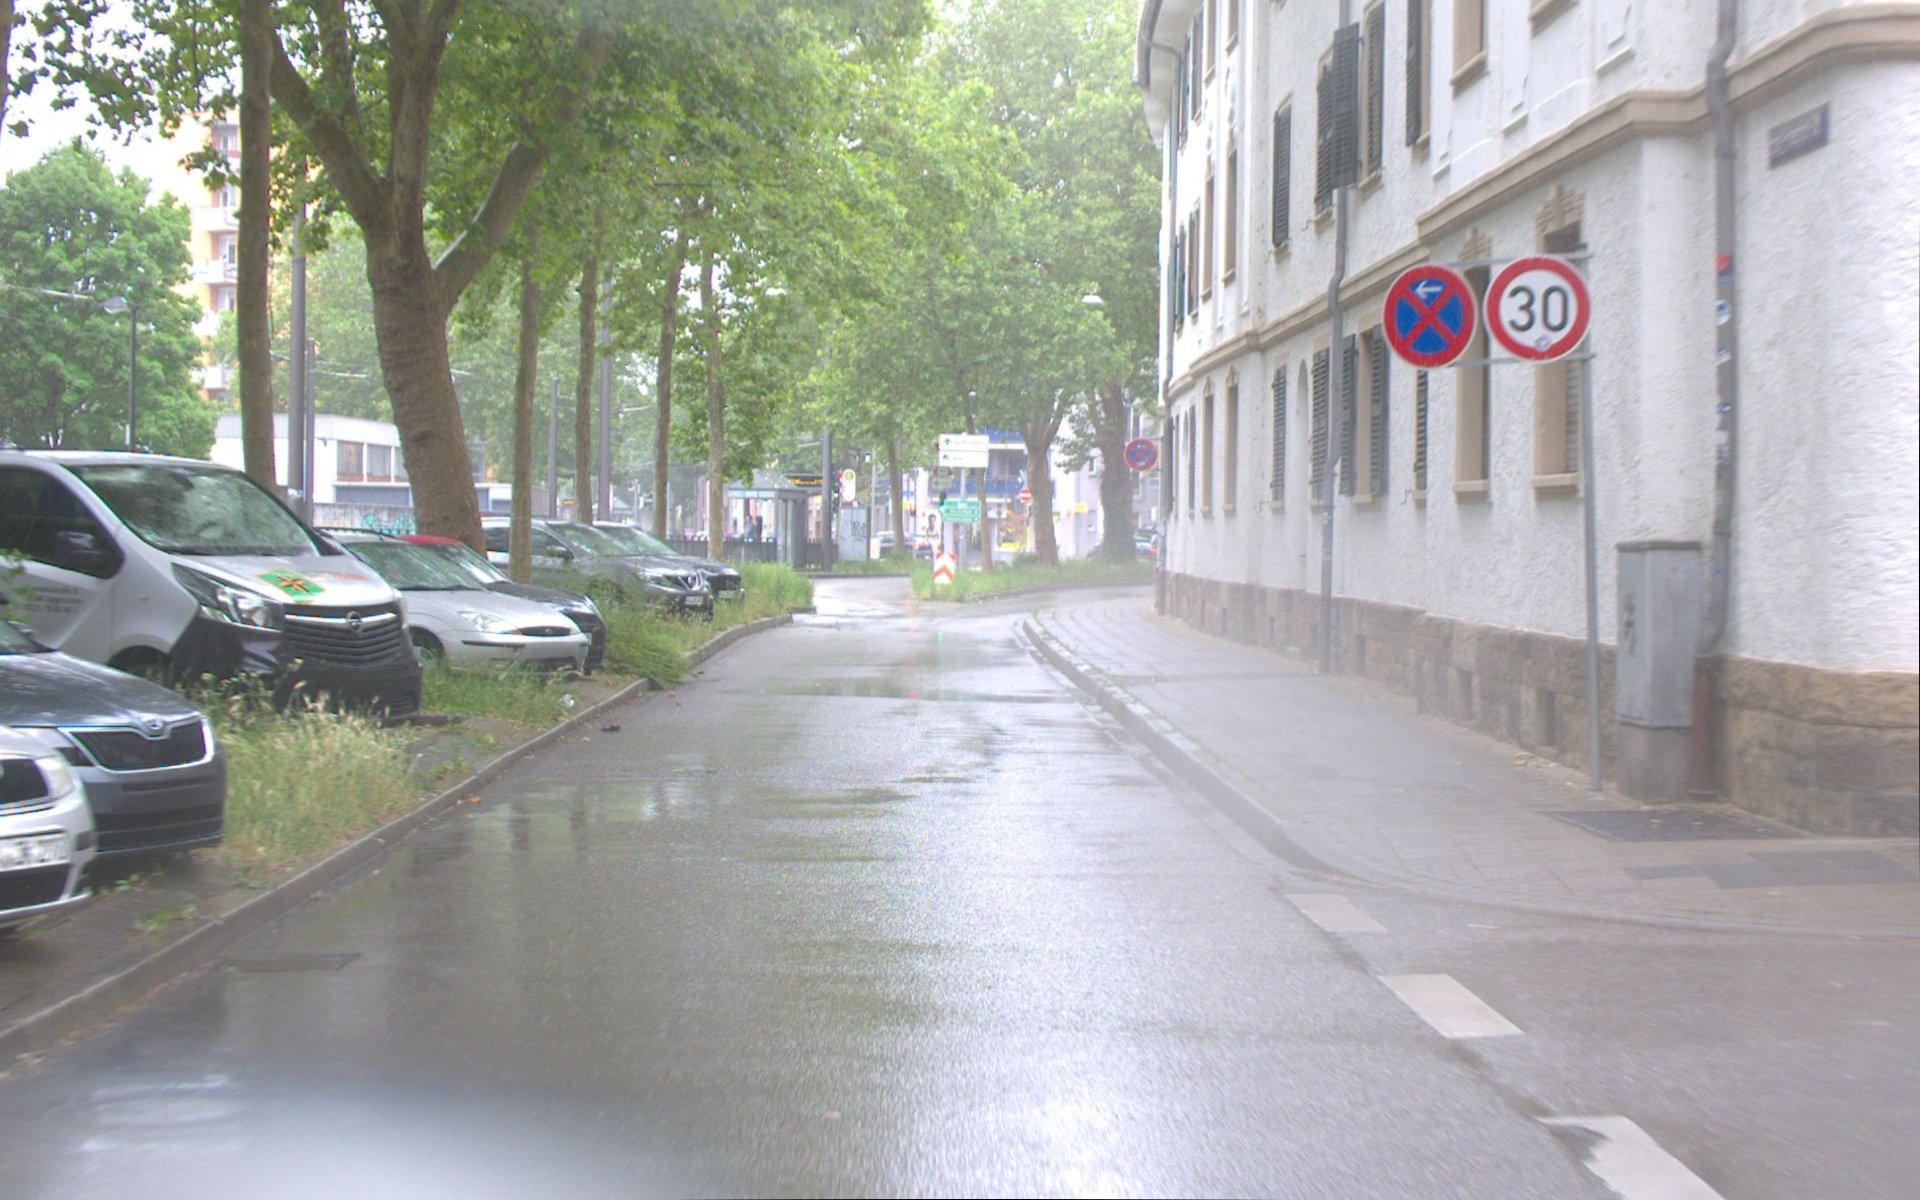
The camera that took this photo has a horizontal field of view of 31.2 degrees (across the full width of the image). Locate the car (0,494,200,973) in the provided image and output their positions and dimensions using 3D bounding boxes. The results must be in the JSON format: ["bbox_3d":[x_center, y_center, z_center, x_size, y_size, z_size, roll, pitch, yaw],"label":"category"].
[{"bbox_3d":[-4.819,0.346,11.746,4.061,1.494,1.745,2,2,23],"label":"car"}]

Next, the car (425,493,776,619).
[{"bbox_3d":[-4.980,-0.634,47.581,4.464,1.591,1.921,2,2,26],"label":"car"}]

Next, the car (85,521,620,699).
[{"bbox_3d":[-5.376,0.048,30.274,4.553,1.477,1.772,1,1,29],"label":"car"}]

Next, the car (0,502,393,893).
[{"bbox_3d":[-4.735,0.290,14.743,4.308,1.432,1.745,3,2,26],"label":"car"}]

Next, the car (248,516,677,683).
[{"bbox_3d":[-4.762,-0.038,32.810,3.811,1.516,1.719,1,1,30],"label":"car"}]

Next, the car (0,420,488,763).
[{"bbox_3d":[-5.708,-0.088,21.970,5.124,1.970,2.099,1,1,30],"label":"car"}]
